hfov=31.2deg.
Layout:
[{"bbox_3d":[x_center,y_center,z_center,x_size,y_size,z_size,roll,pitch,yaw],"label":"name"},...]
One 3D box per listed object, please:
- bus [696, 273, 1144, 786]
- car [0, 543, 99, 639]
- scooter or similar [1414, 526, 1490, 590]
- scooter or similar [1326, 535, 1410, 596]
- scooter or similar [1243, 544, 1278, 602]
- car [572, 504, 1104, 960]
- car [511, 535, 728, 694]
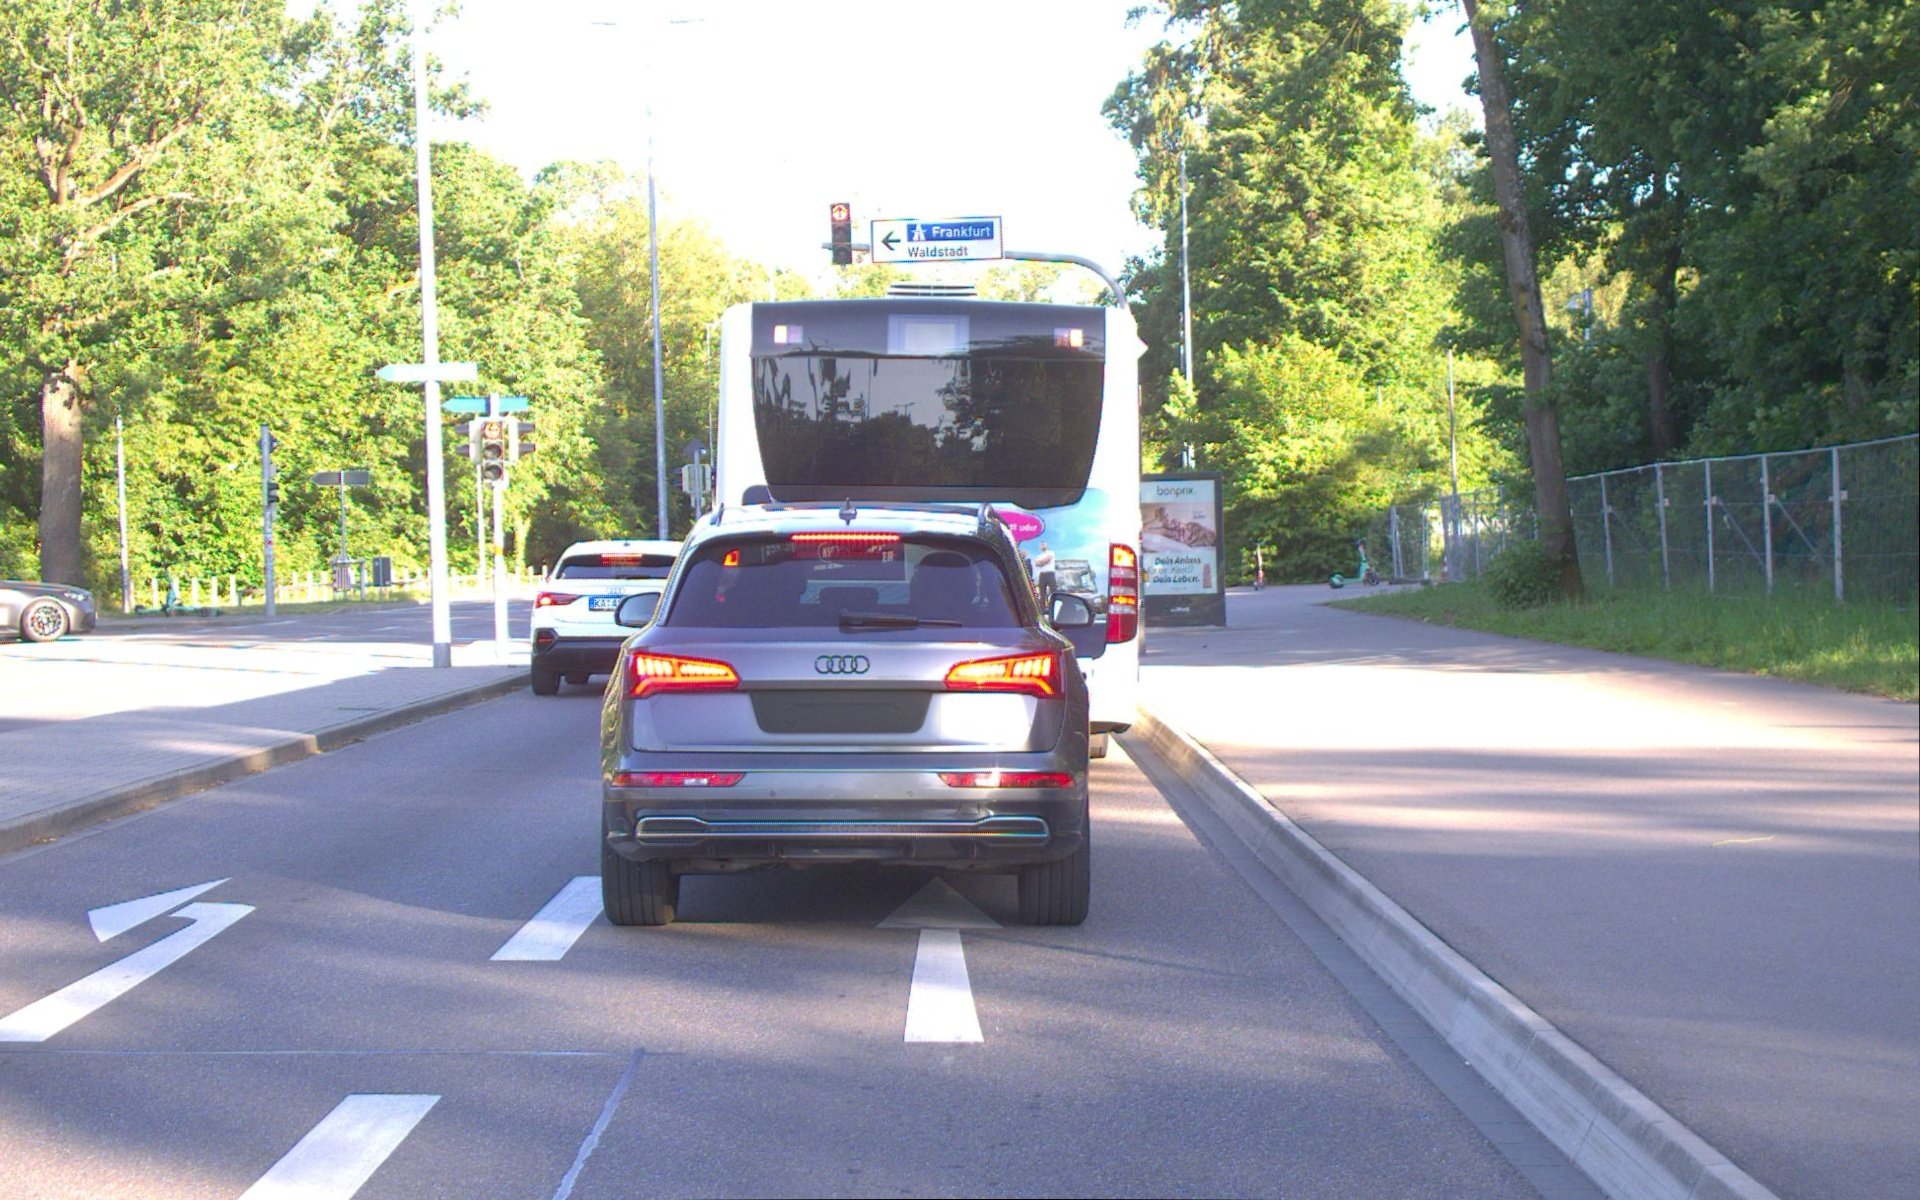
[{"bbox_3d":[-0.259,-0.452,24.617,2.594,2.978,9.327,0,0,0],"label":"bus"},{"bbox_3d":[-16.668,-0.098,56.298,4.772,1.493,2.001,-2,1,-19],"label":"car"},{"bbox_3d":[12.466,-1.053,87.093,0.539,1.562,2.022,-3,1,-39],"label":"scooter or similar"},{"bbox_3d":[10.188,-0.856,85.819,2.015,1.439,0.606,-2,1,-24],"label":"scooter or similar"},{"bbox_3d":[7.720,-0.704,88.398,0.508,1.439,2.023,-2,1,-5],"label":"scooter or similar"},{"bbox_3d":[-0.450,0.437,14.325,1.898,1.626,4.000,0,1,0],"label":"car"},{"bbox_3d":[-3.432,0.102,35.293,1.836,1.513,4.000,-1,1,0],"label":"car"}]
